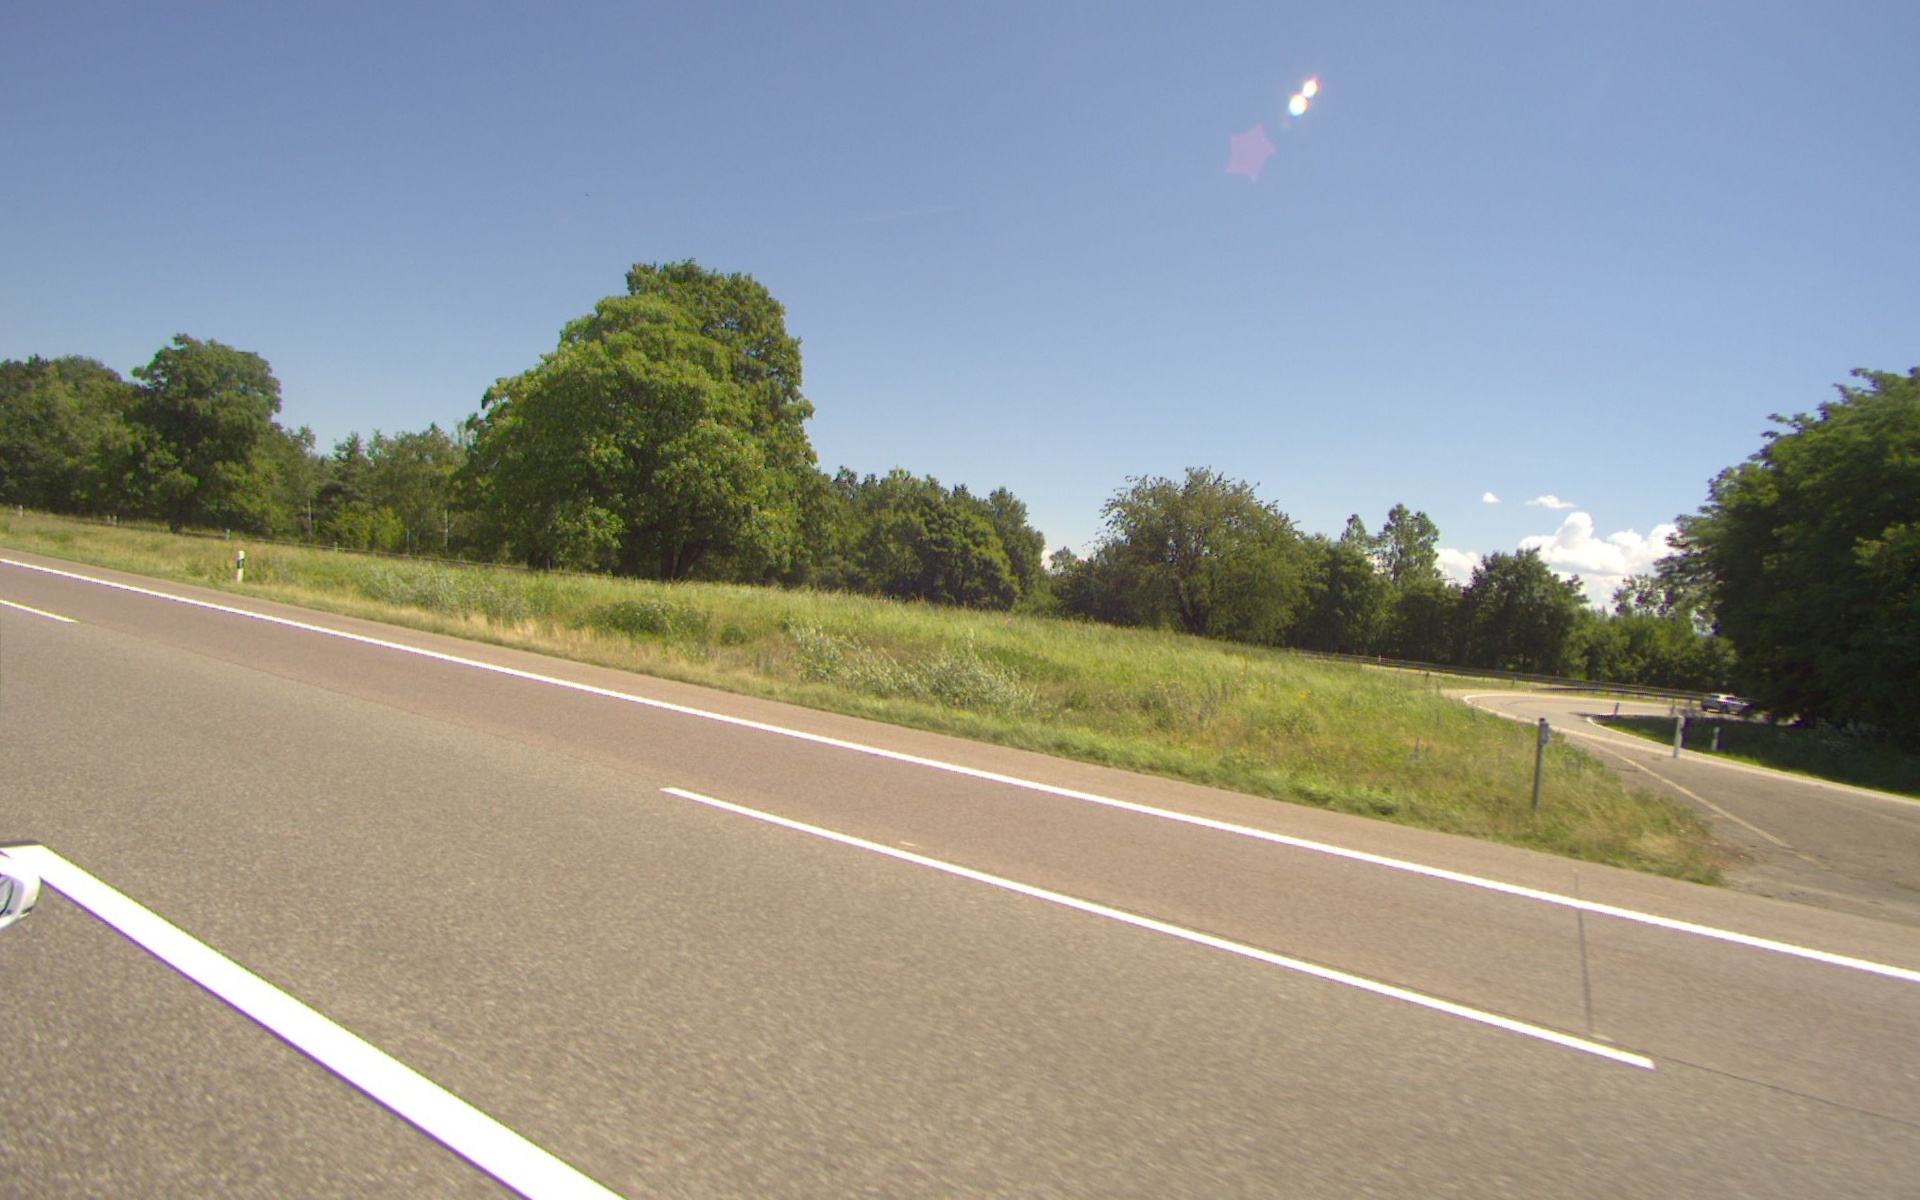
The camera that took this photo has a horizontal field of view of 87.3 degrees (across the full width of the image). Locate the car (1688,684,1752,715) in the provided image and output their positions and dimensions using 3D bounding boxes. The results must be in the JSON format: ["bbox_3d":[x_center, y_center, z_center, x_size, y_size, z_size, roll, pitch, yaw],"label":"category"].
[{"bbox_3d":[62.851,8.211,83.168,3.936,1.903,1.996,8,-1,-12],"label":"car"}]
